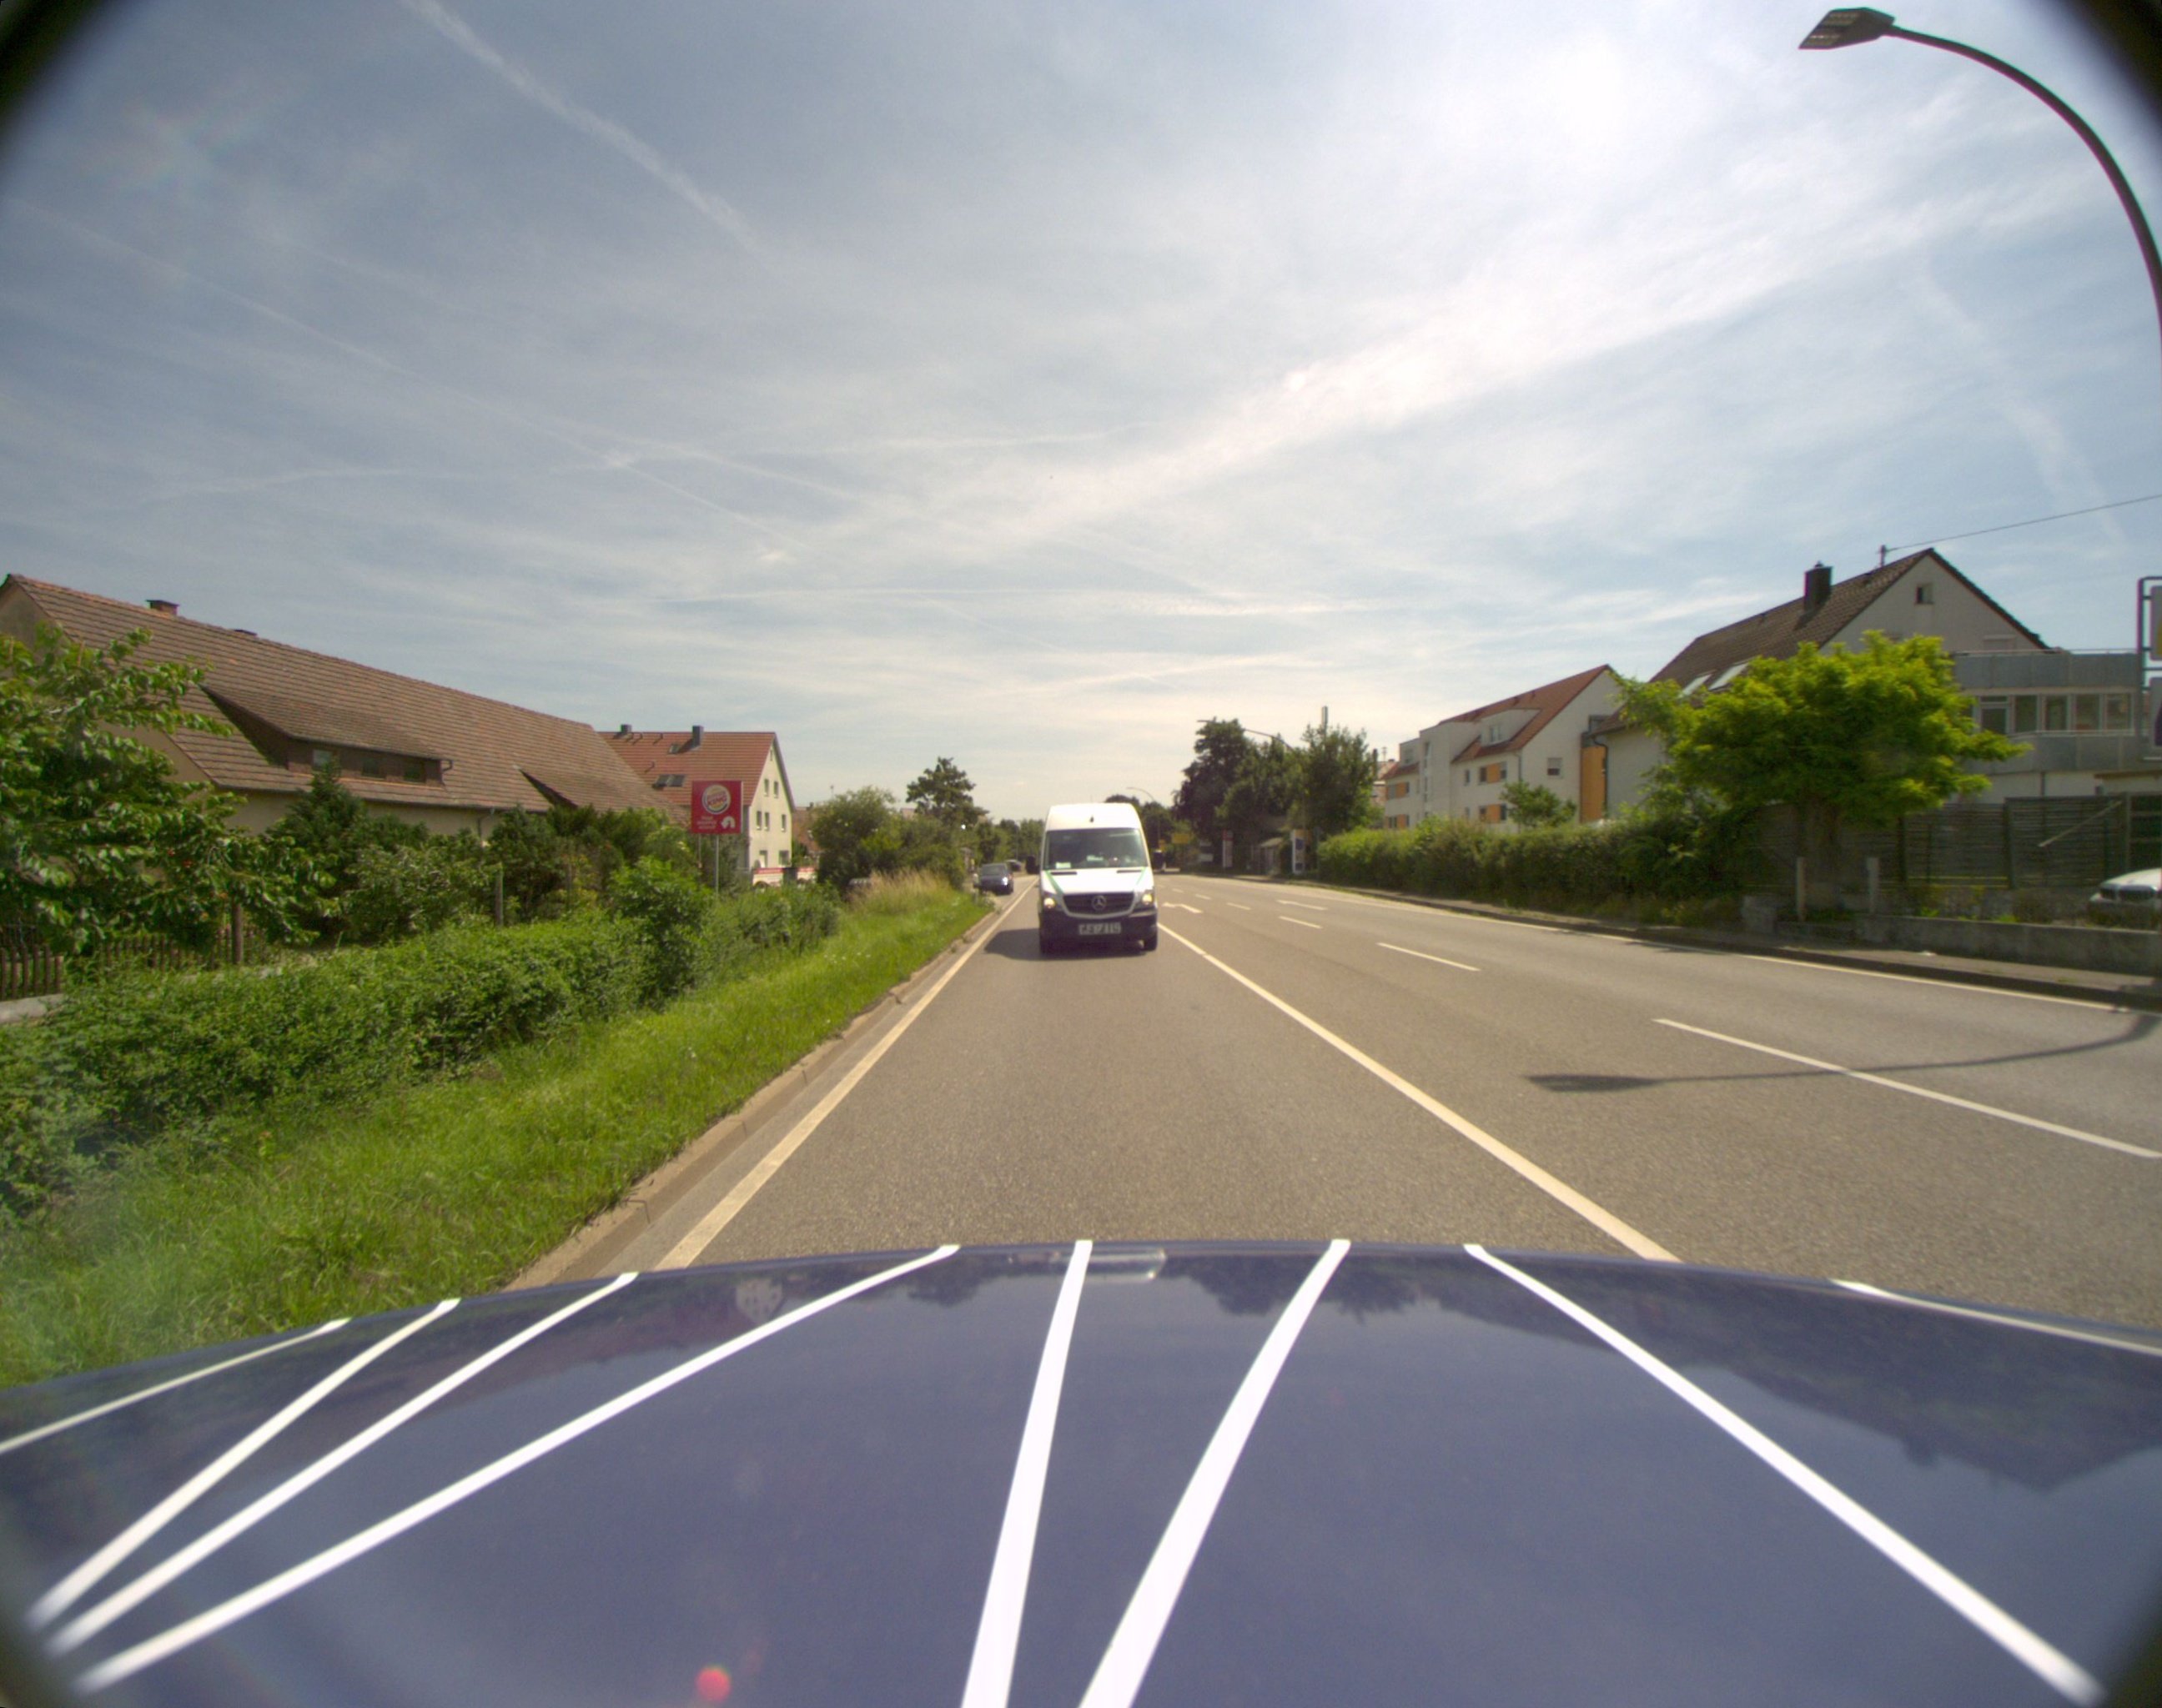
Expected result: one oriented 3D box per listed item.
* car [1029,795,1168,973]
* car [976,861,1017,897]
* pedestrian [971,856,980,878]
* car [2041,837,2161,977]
[{"bbox_3d":[0.217,0.433,13.855,1.939,2.514,5.748,-2,0,-1],"label":"car"},{"bbox_3d":[-4.022,1.187,36.668,1.636,1.476,3.551,-4,1,-2],"label":"car"},{"bbox_3d":[-7.674,0.946,55.412,0.522,1.540,0.562,-2,2,-20],"label":"pedestrian"},{"bbox_3d":[14.095,0.492,7.995,4.569,1.439,1.860,-3,1,28],"label":"car"}]
